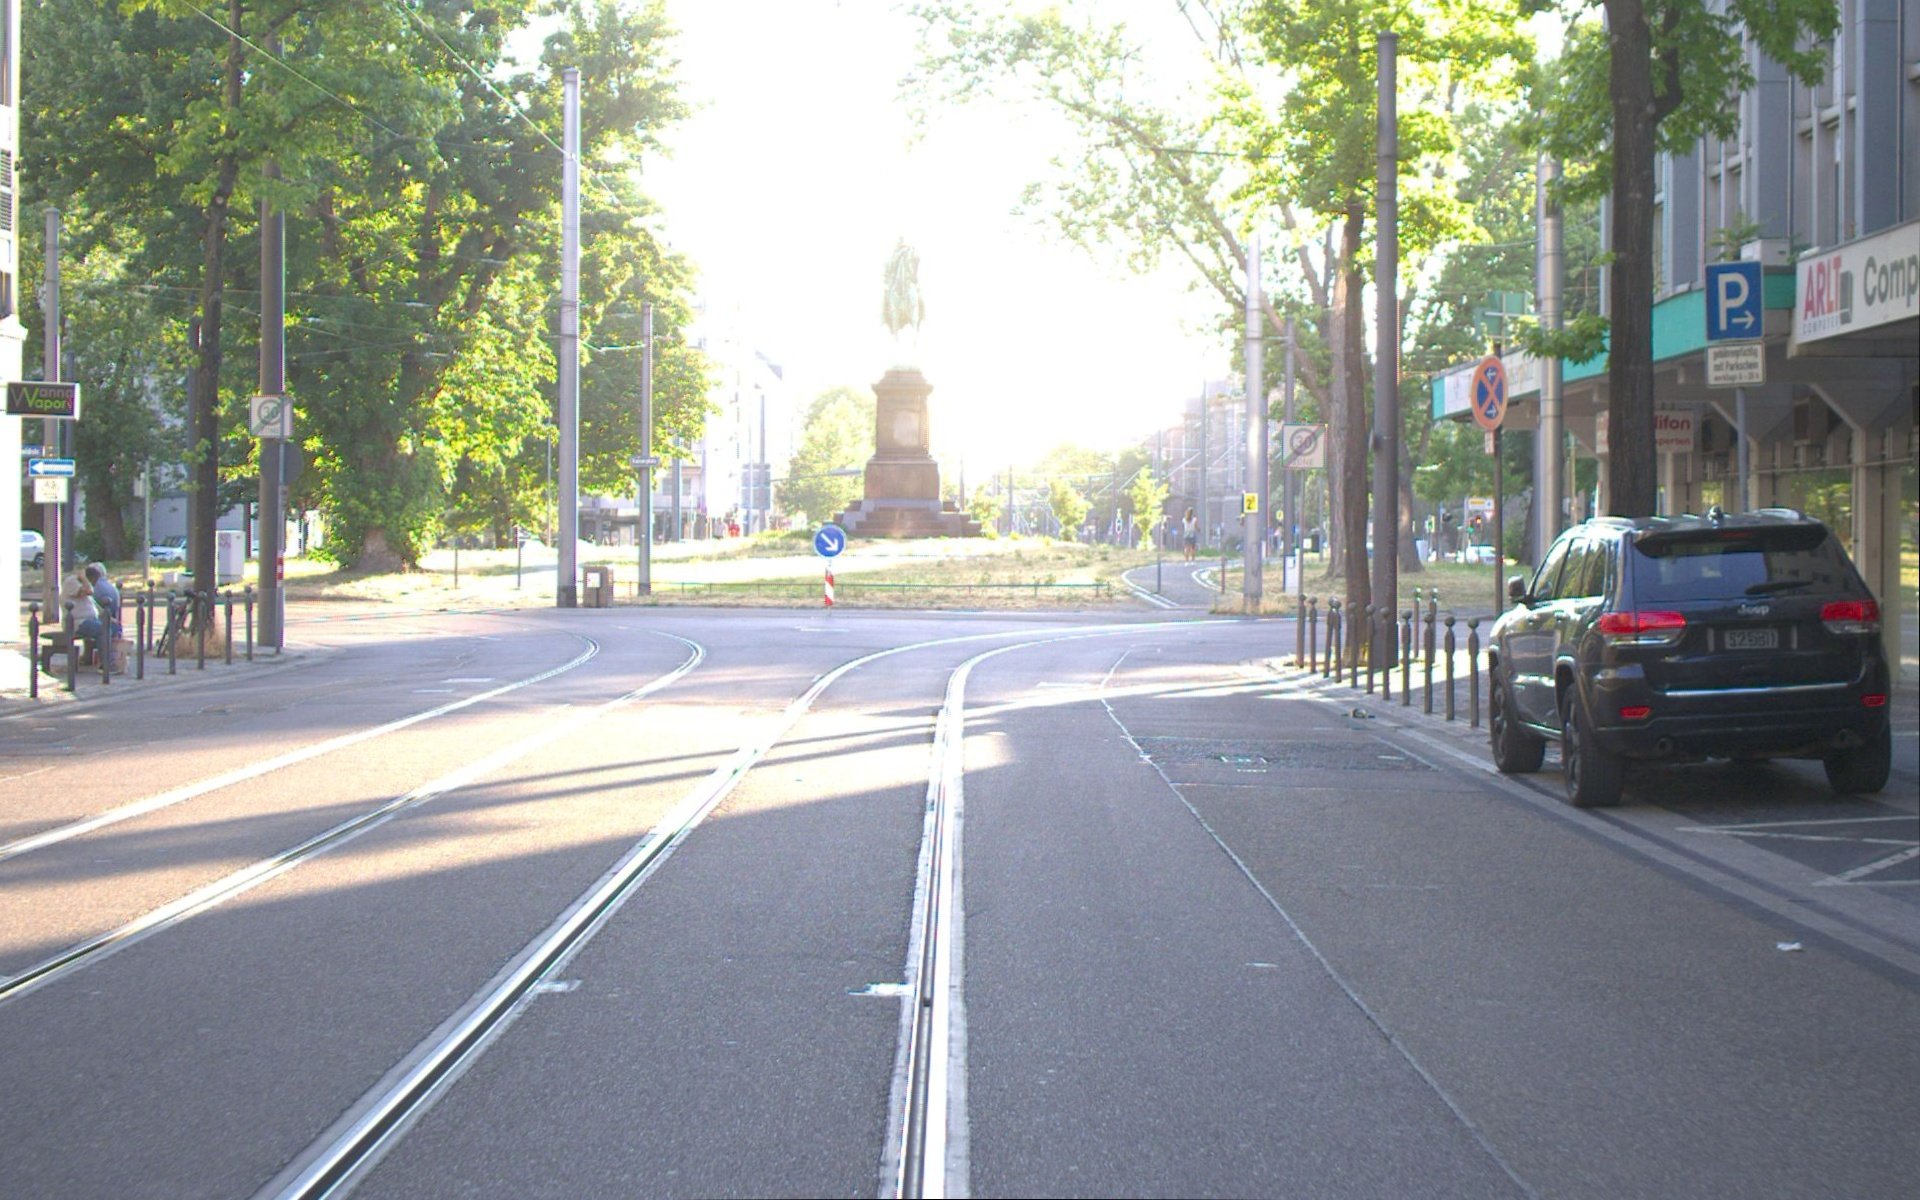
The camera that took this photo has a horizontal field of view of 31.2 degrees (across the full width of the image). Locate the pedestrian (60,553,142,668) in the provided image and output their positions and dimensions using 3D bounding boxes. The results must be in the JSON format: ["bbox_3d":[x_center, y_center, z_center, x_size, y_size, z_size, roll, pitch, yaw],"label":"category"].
[{"bbox_3d":[-9.830,0.116,39.355,0.728,1.286,0.857,1,1,-2],"label":"pedestrian"}]

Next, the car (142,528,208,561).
[{"bbox_3d":[-34.687,-2.453,152.016,1.877,1.415,3.925,0,1,3],"label":"car"}]

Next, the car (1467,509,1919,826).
[{"bbox_3d":[4.676,0.352,22.509,1.938,1.753,4.680,-3,1,0],"label":"car"}]

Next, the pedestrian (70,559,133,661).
[{"bbox_3d":[-10.231,0.117,40.999,0.591,1.189,0.642,1,1,-2],"label":"pedestrian"}]

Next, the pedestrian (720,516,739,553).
[{"bbox_3d":[-9.926,-2.806,147.896,0.769,1.600,0.638,0,1,-6],"label":"pedestrian"}]

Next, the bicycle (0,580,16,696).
[{"bbox_3d":[-10.172,0.328,33.063,2.024,1.101,0.501,2,0,3],"label":"bicycle"}]

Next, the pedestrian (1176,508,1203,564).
[{"bbox_3d":[6.611,-1.833,98.859,0.636,1.600,0.771,1,1,15],"label":"pedestrian"}]

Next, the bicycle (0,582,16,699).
[{"bbox_3d":[-10.011,0.344,32.475,2.024,1.101,0.501,2,0,3],"label":"bicycle"}]

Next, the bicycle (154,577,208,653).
[{"bbox_3d":[-10.117,0.190,44.664,0.336,0.942,1.510,0,1,1],"label":"bicycle"}]
